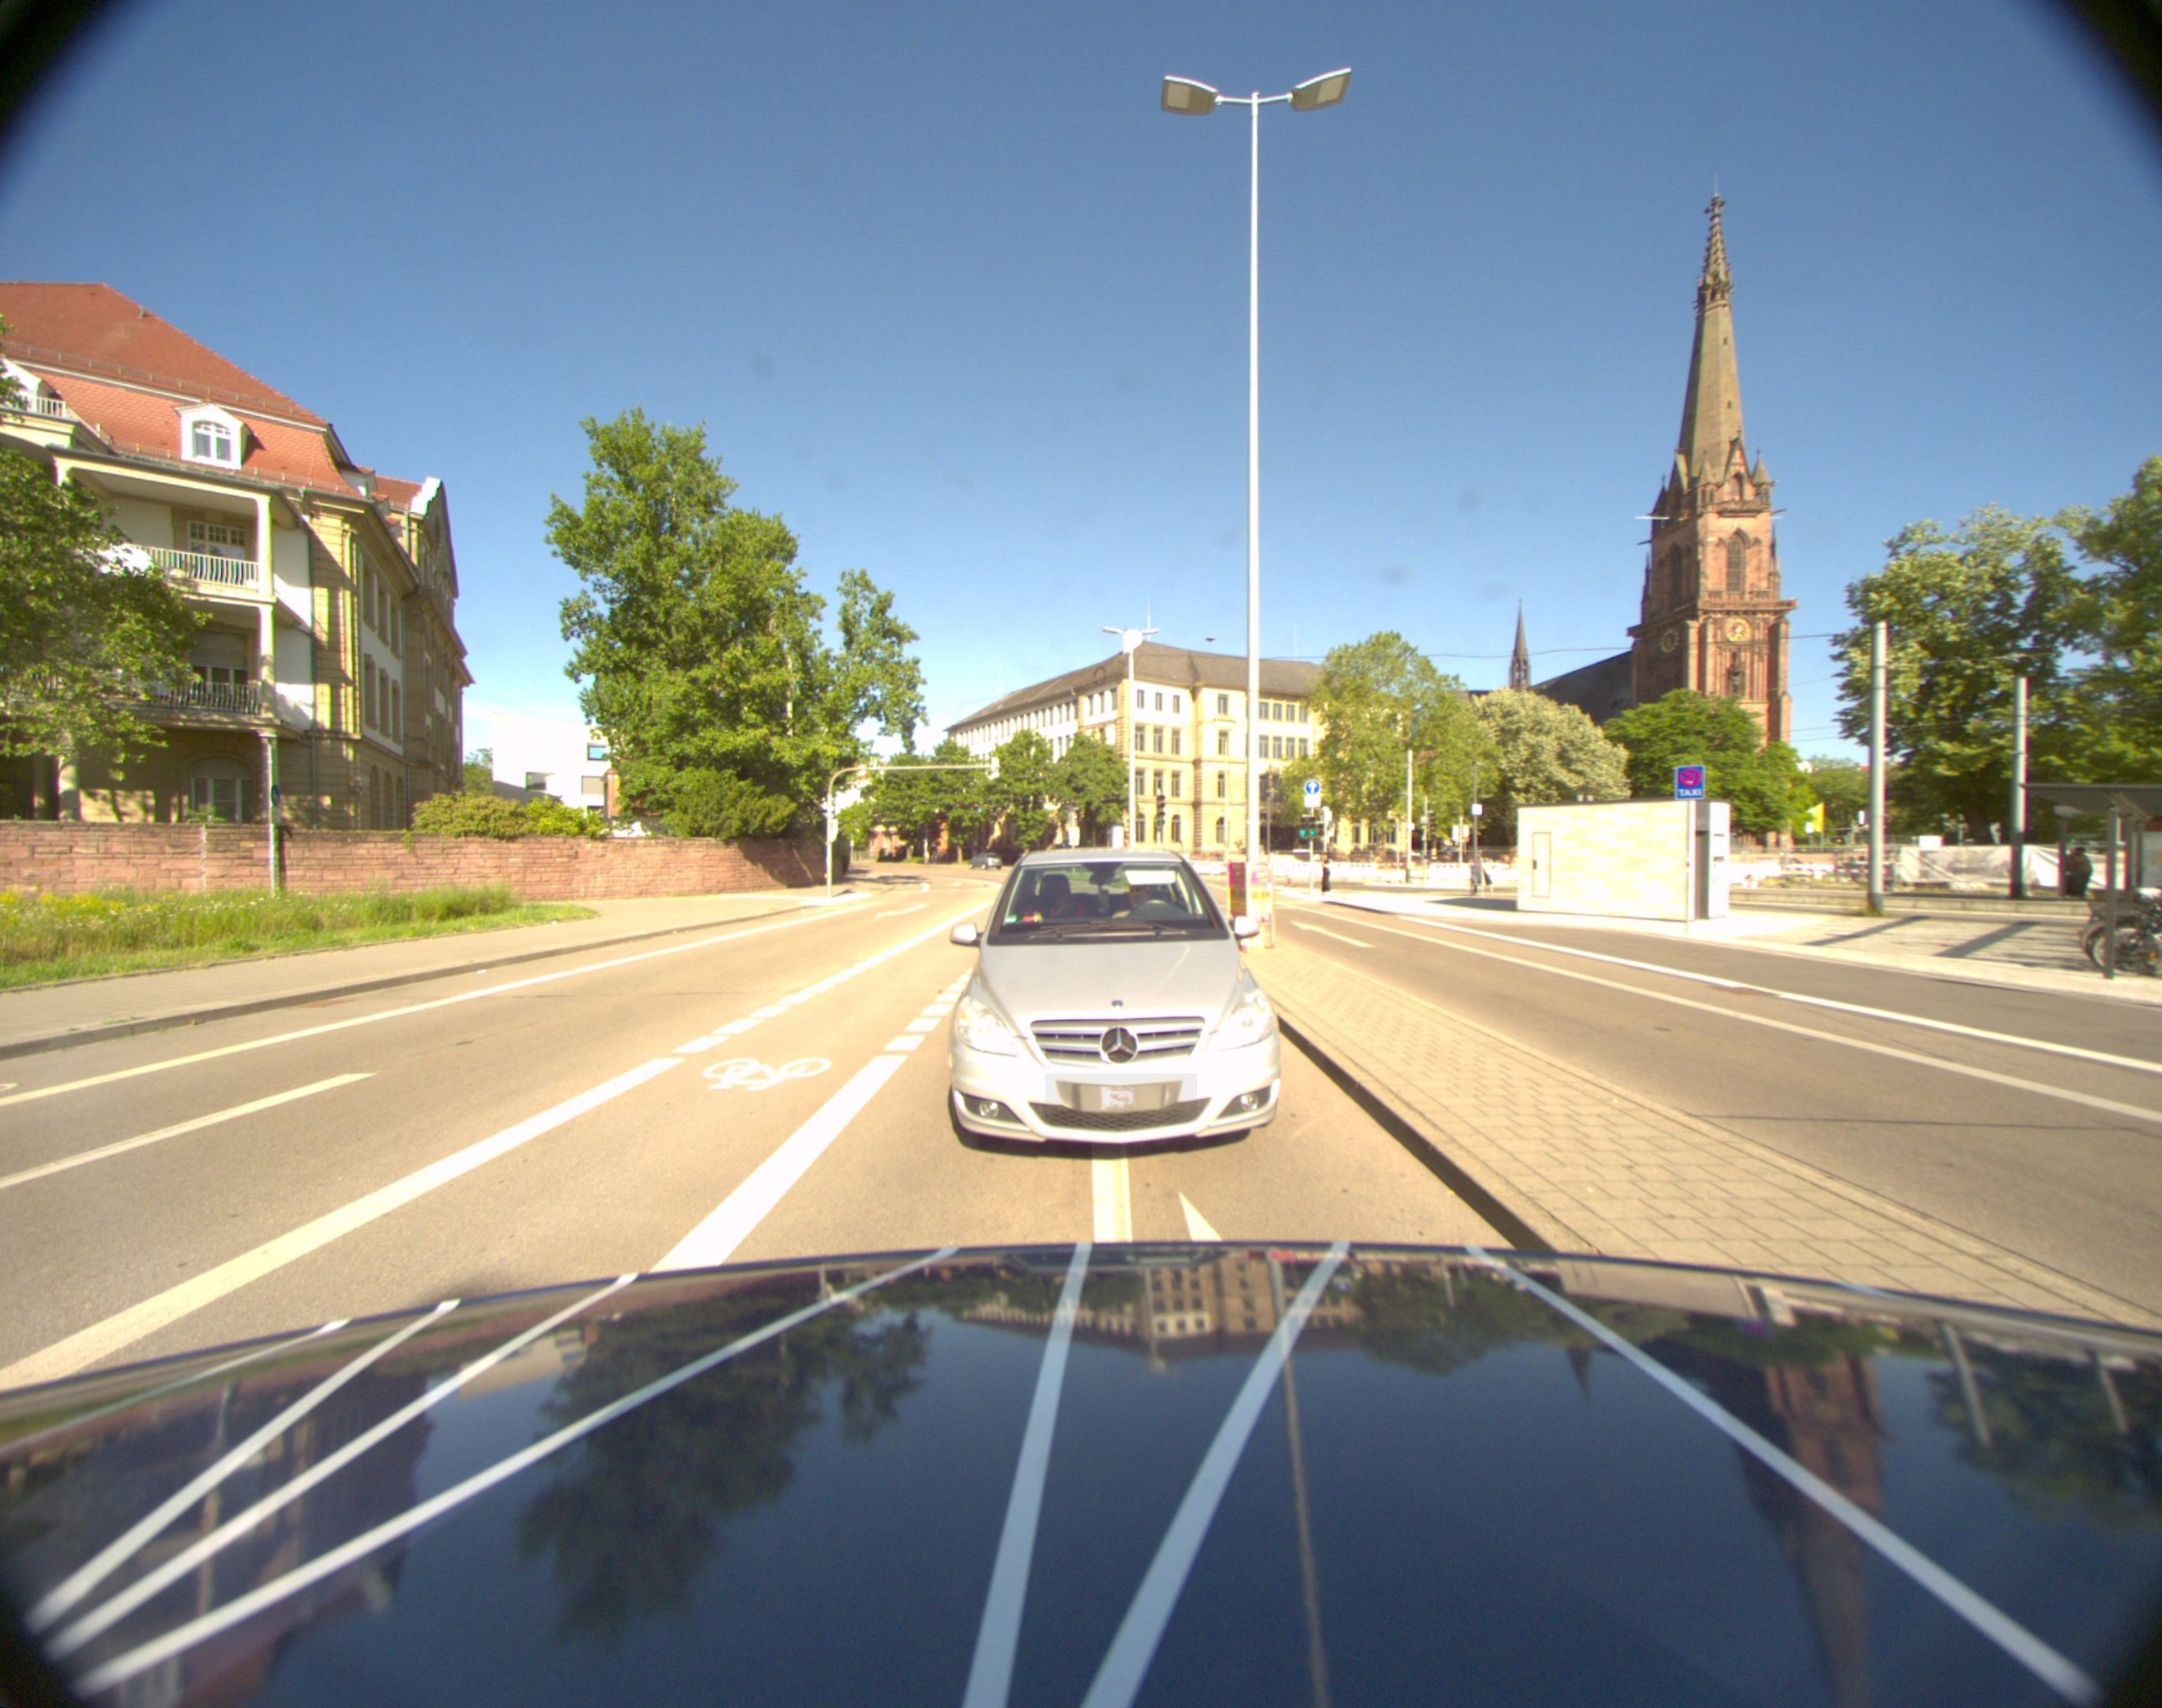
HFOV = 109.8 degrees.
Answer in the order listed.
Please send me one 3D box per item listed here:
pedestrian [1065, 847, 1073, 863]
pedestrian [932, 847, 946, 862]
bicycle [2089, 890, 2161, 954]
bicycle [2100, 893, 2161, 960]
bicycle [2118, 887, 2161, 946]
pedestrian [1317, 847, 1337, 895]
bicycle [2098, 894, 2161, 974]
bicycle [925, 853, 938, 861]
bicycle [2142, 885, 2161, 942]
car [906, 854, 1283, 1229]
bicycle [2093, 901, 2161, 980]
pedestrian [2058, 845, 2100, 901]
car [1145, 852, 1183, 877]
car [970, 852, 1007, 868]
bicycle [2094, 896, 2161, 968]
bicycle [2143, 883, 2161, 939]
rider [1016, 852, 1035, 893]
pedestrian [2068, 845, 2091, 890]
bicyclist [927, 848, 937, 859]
[{"bbox_3d":[-1.315,0.118,80.686,0.677,1.714,0.588,-1,1,-22],"label":"pedestrian"},{"bbox_3d":[-18.081,0.061,96.726,0.934,1.812,1.394,1,1,45],"label":"pedestrian"},{"bbox_3d":[17.908,1.128,12.429,0.458,1.003,1.667,-1,1,-33],"label":"bicycle"},{"bbox_3d":[17.254,1.148,11.656,0.458,1.003,1.899,-1,1,-33],"label":"bicycle"},{"bbox_3d":[19.122,1.099,12.949,0.458,1.003,1.667,-1,1,-33],"label":"bicycle"},{"bbox_3d":[9.591,0.642,29.653,0.693,1.844,0.679,0,1,12],"label":"pedestrian"},{"bbox_3d":[15.195,1.124,10.281,0.458,1.055,1.667,-1,1,-33],"label":"bicycle"},{"bbox_3d":[-18.325,0.317,93.208,1.830,0.985,0.735,0,1,44],"label":"bicycle"},{"bbox_3d":[19.889,1.076,13.201,0.458,1.003,1.667,-1,1,-33],"label":"bicycle"},{"bbox_3d":[0.035,0.866,5.467,1.706,1.657,3.913,-1,1,-1],"label":"car"},{"bbox_3d":[14.694,1.172,9.966,0.458,1.003,1.667,-1,1,-33],"label":"bicycle"},{"bbox_3d":[32.440,0.596,24.703,0.980,1.769,0.801,-1,1,-37],"label":"pedestrian"},{"bbox_3d":[5.314,0.662,49.325,1.793,1.490,4.574,1,1,-2],"label":"car"},{"bbox_3d":[-9.031,0.567,74.056,1.865,1.533,4.229,1,1,-34],"label":"car"},{"bbox_3d":[16.067,1.164,10.978,0.458,1.003,1.667,-1,1,-33],"label":"bicycle"},{"bbox_3d":[20.482,1.064,13.611,0.458,1.003,1.667,-1,1,-33],"label":"bicycle"},{"bbox_3d":[-2.280,0.742,31.190,0.658,1.610,0.989,-1,1,1],"label":"rider"},{"bbox_3d":[37.566,0.500,28.578,0.404,1.711,0.419,1,1,38],"label":"pedestrian"},{"bbox_3d":[-18.293,-0.096,93.181,0.893,1.377,0.735,1,1,44],"label":"bicyclist"}]
